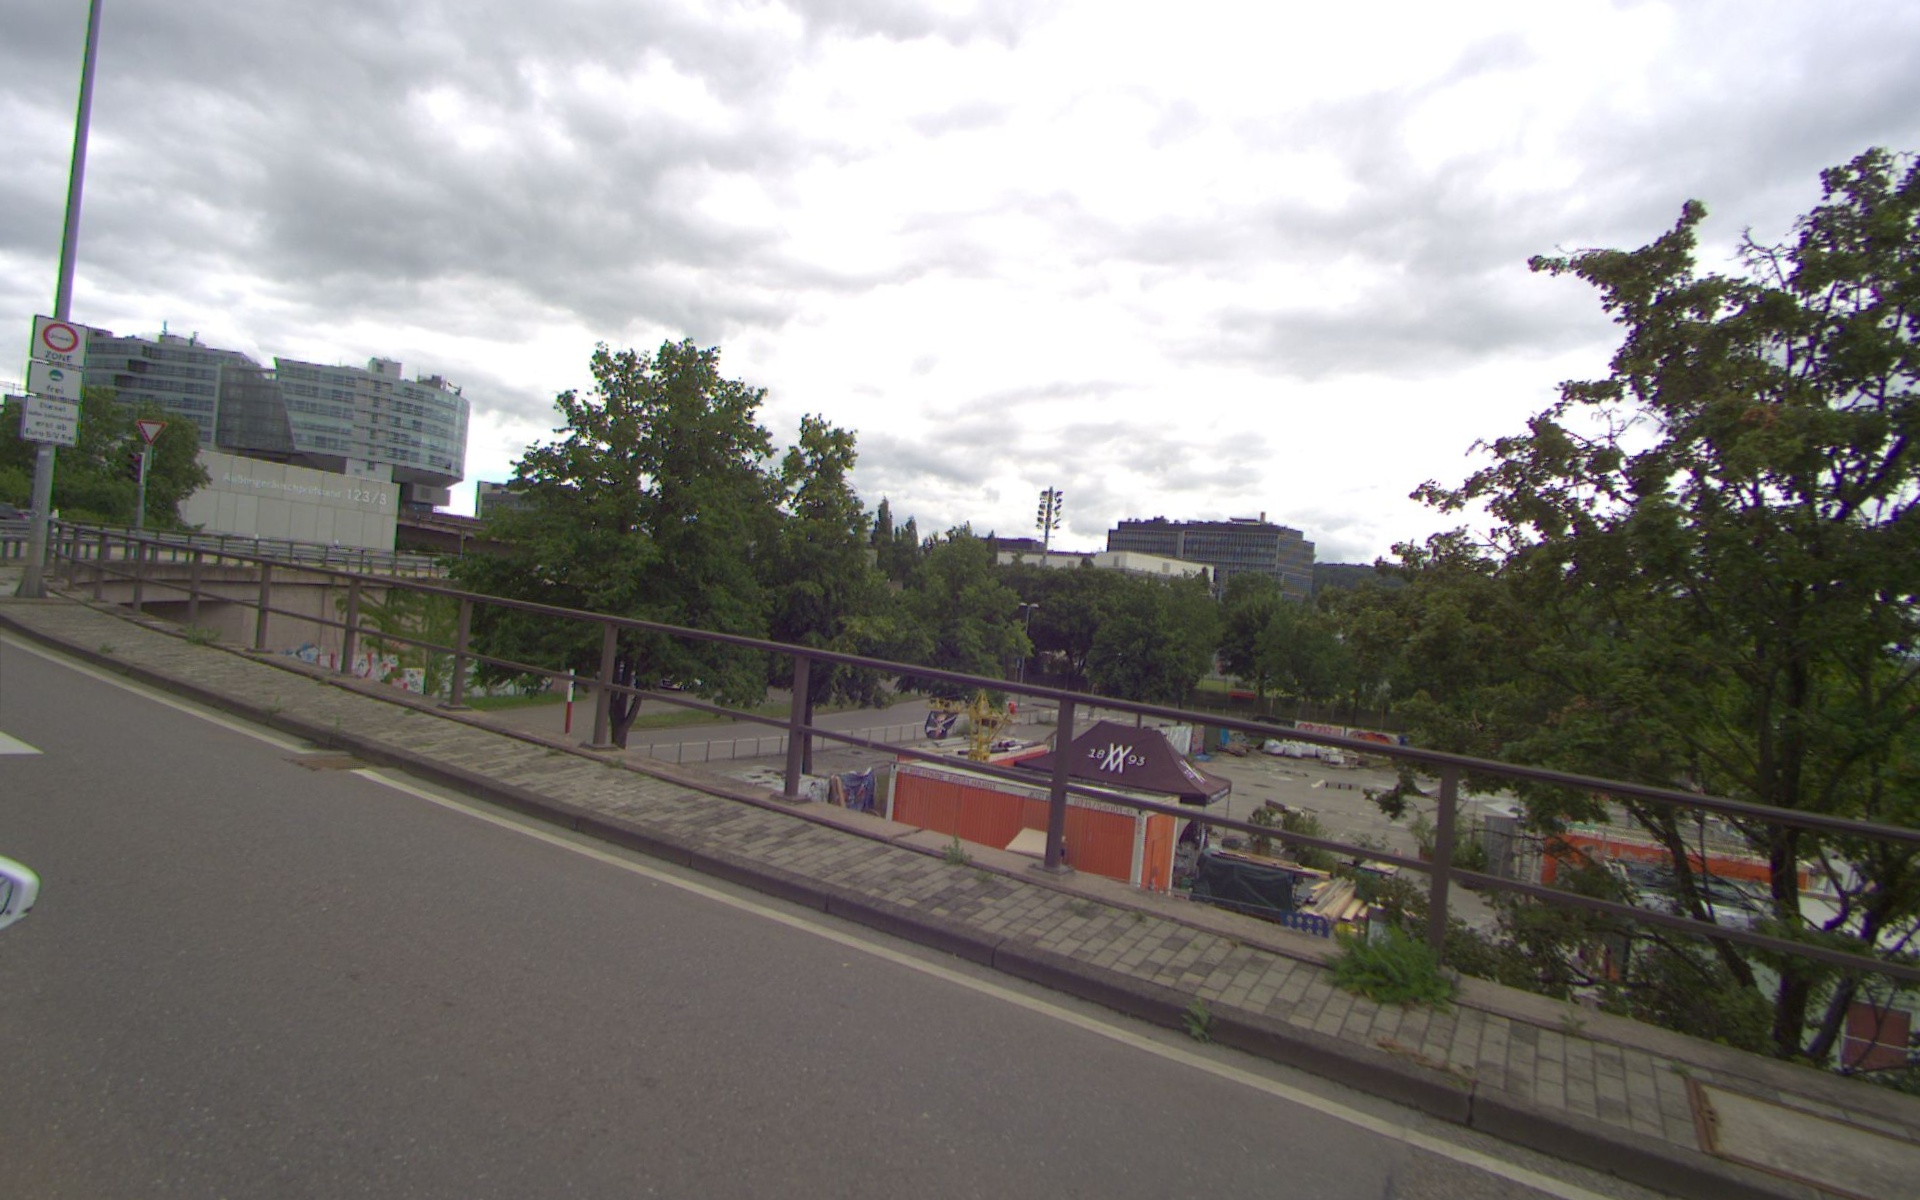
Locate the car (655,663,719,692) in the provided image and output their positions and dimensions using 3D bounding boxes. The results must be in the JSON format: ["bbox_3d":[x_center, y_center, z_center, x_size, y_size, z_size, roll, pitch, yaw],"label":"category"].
[{"bbox_3d":[-17.767,5.008,65.633,1.794,1.553,3.997,7,0,24],"label":"car"}]

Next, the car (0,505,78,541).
[{"bbox_3d":[-53.128,-4.443,57.263,4.071,1.458,1.984,8,-4,-34],"label":"car"}]

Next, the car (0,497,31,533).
[{"bbox_3d":[-45.658,-4.178,45.685,1.922,1.474,4.616,7,-1,29],"label":"car"}]
